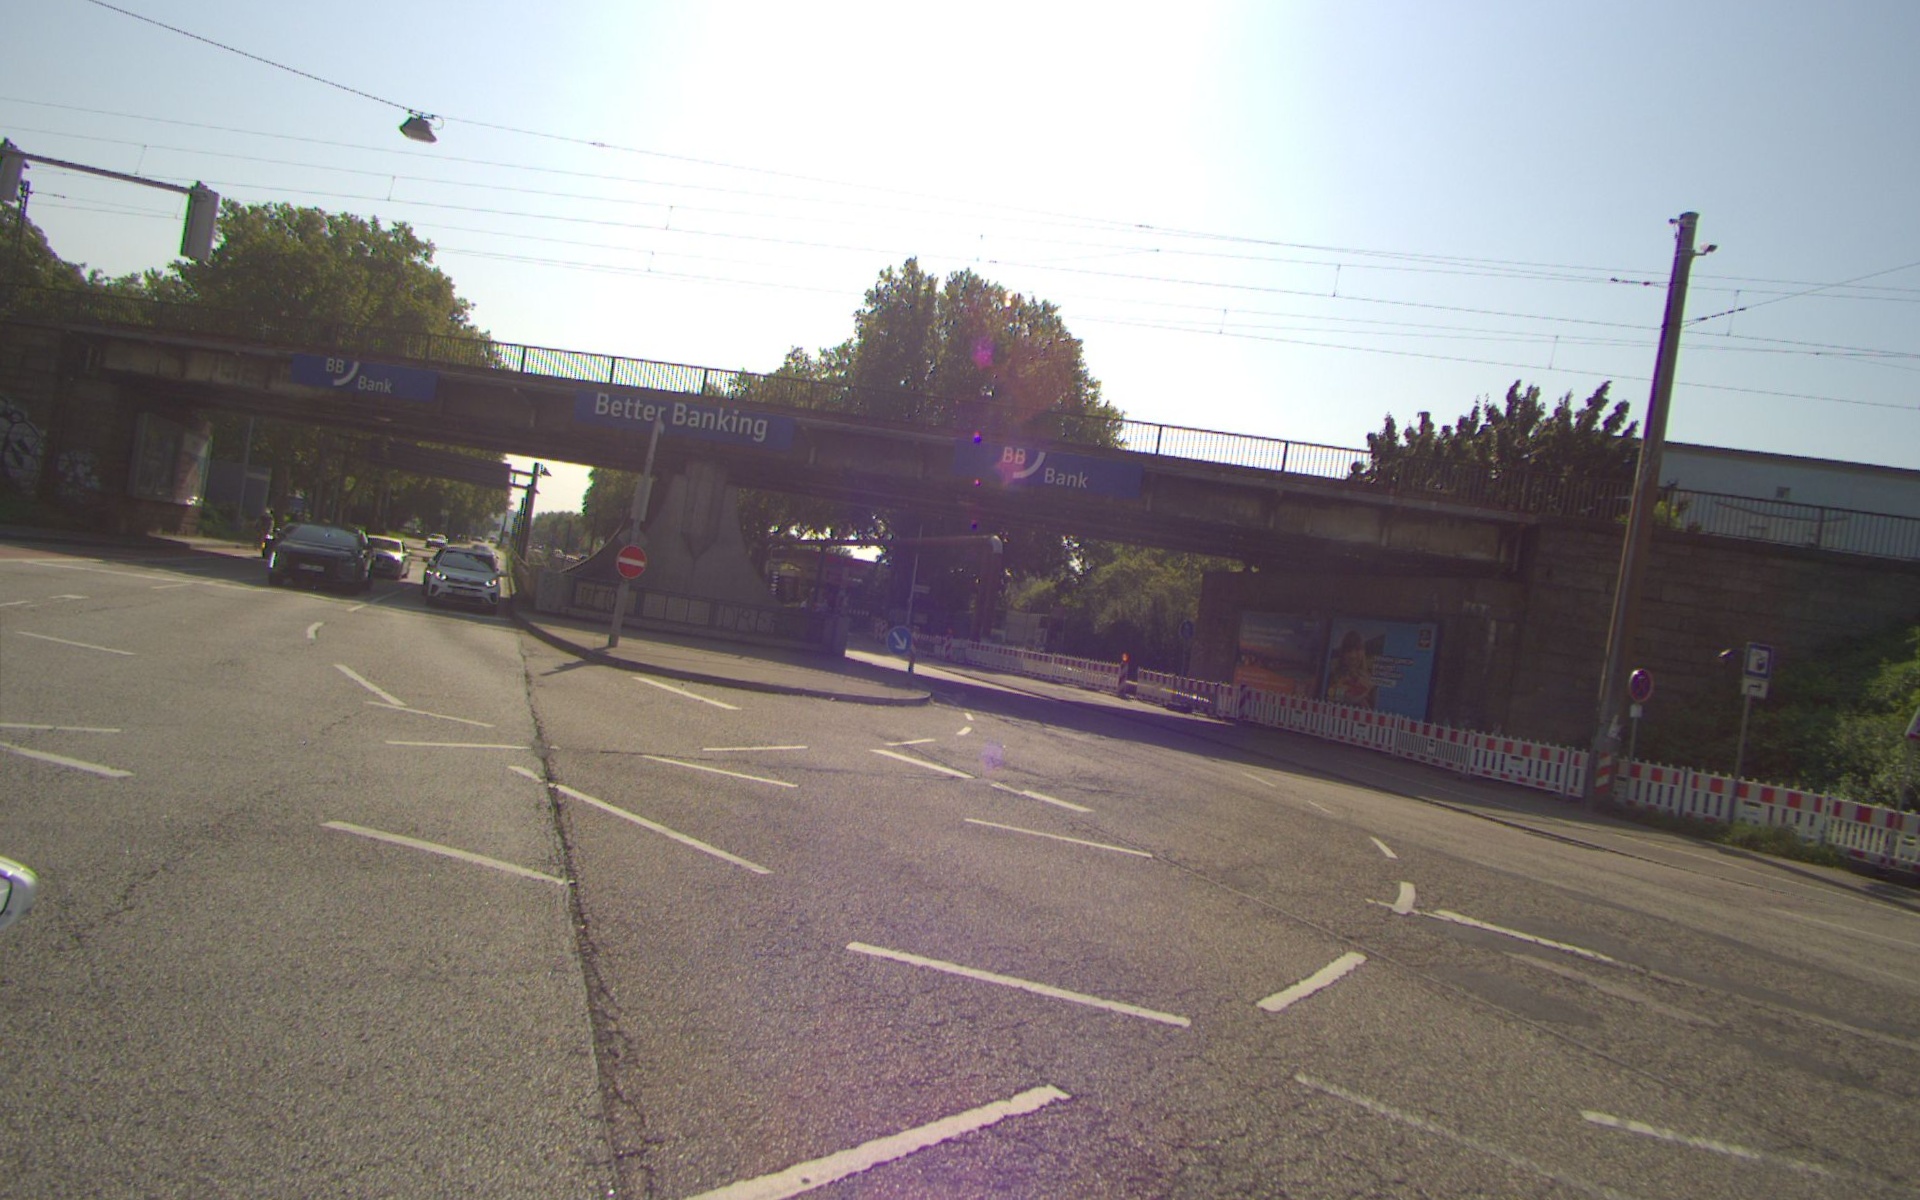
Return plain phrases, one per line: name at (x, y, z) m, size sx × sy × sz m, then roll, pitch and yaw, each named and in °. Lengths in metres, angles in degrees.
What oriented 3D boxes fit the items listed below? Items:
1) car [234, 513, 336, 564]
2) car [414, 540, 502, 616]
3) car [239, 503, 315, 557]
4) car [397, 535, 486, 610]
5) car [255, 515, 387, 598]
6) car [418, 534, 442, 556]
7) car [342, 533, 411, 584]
car at (-25.192, -2.263, 37.757) m, size 1.974 × 1.480 × 4.862 m, roll 9°, pitch 0°, yaw -21°
car at (-12.776, -0.593, 25.558) m, size 1.708 × 1.556 × 3.669 m, roll 9°, pitch -1°, yaw -28°
car at (-30.146, -3.067, 44.506) m, size 1.980 × 1.868 × 3.973 m, roll 12°, pitch -2°, yaw -27°
car at (-15.301, -0.854, 29.695) m, size 1.979 × 1.591 × 4.313 m, roll 10°, pitch 0°, yaw -28°
car at (-15.981, -1.074, 25.423) m, size 1.883 × 1.636 × 4.451 m, roll 8°, pitch -1°, yaw -22°
car at (-59.547, -6.236, 113.161) m, size 1.980 × 2.035 × 3.973 m, roll 12°, pitch -2°, yaw -27°
car at (-20.660, -1.502, 35.761) m, size 1.678 × 1.375 × 3.973 m, roll 12°, pitch -2°, yaw -27°
